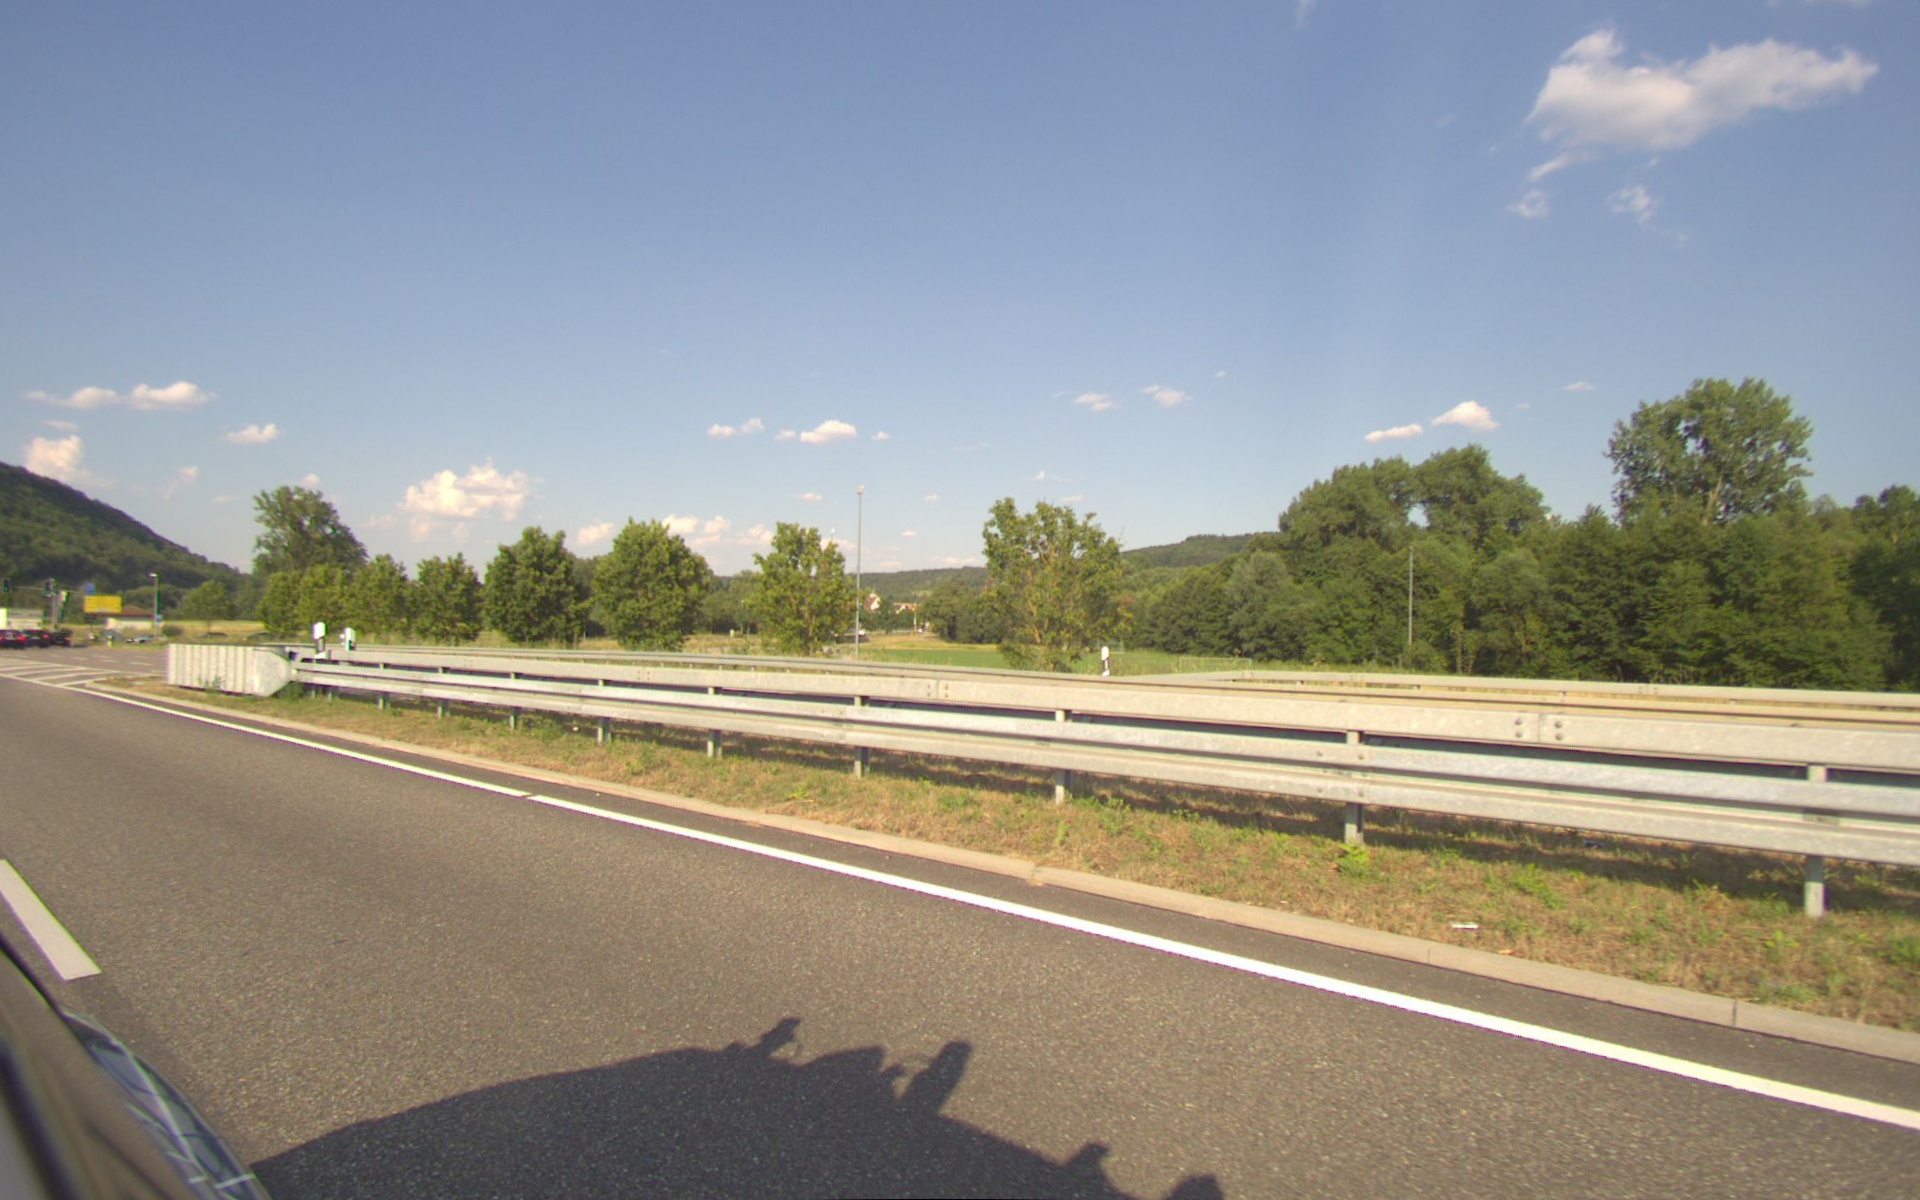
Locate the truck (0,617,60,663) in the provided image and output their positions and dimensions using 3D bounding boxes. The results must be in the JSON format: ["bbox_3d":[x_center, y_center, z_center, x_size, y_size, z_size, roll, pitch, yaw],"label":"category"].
[{"bbox_3d":[-79.966,3.389,86.714,10.495,3.718,2.902,-1,-4,42],"label":"truck"}]

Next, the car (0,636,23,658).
[{"bbox_3d":[-68.296,3.333,72.048,4.722,1.475,1.698,-2,-5,40],"label":"car"}]
